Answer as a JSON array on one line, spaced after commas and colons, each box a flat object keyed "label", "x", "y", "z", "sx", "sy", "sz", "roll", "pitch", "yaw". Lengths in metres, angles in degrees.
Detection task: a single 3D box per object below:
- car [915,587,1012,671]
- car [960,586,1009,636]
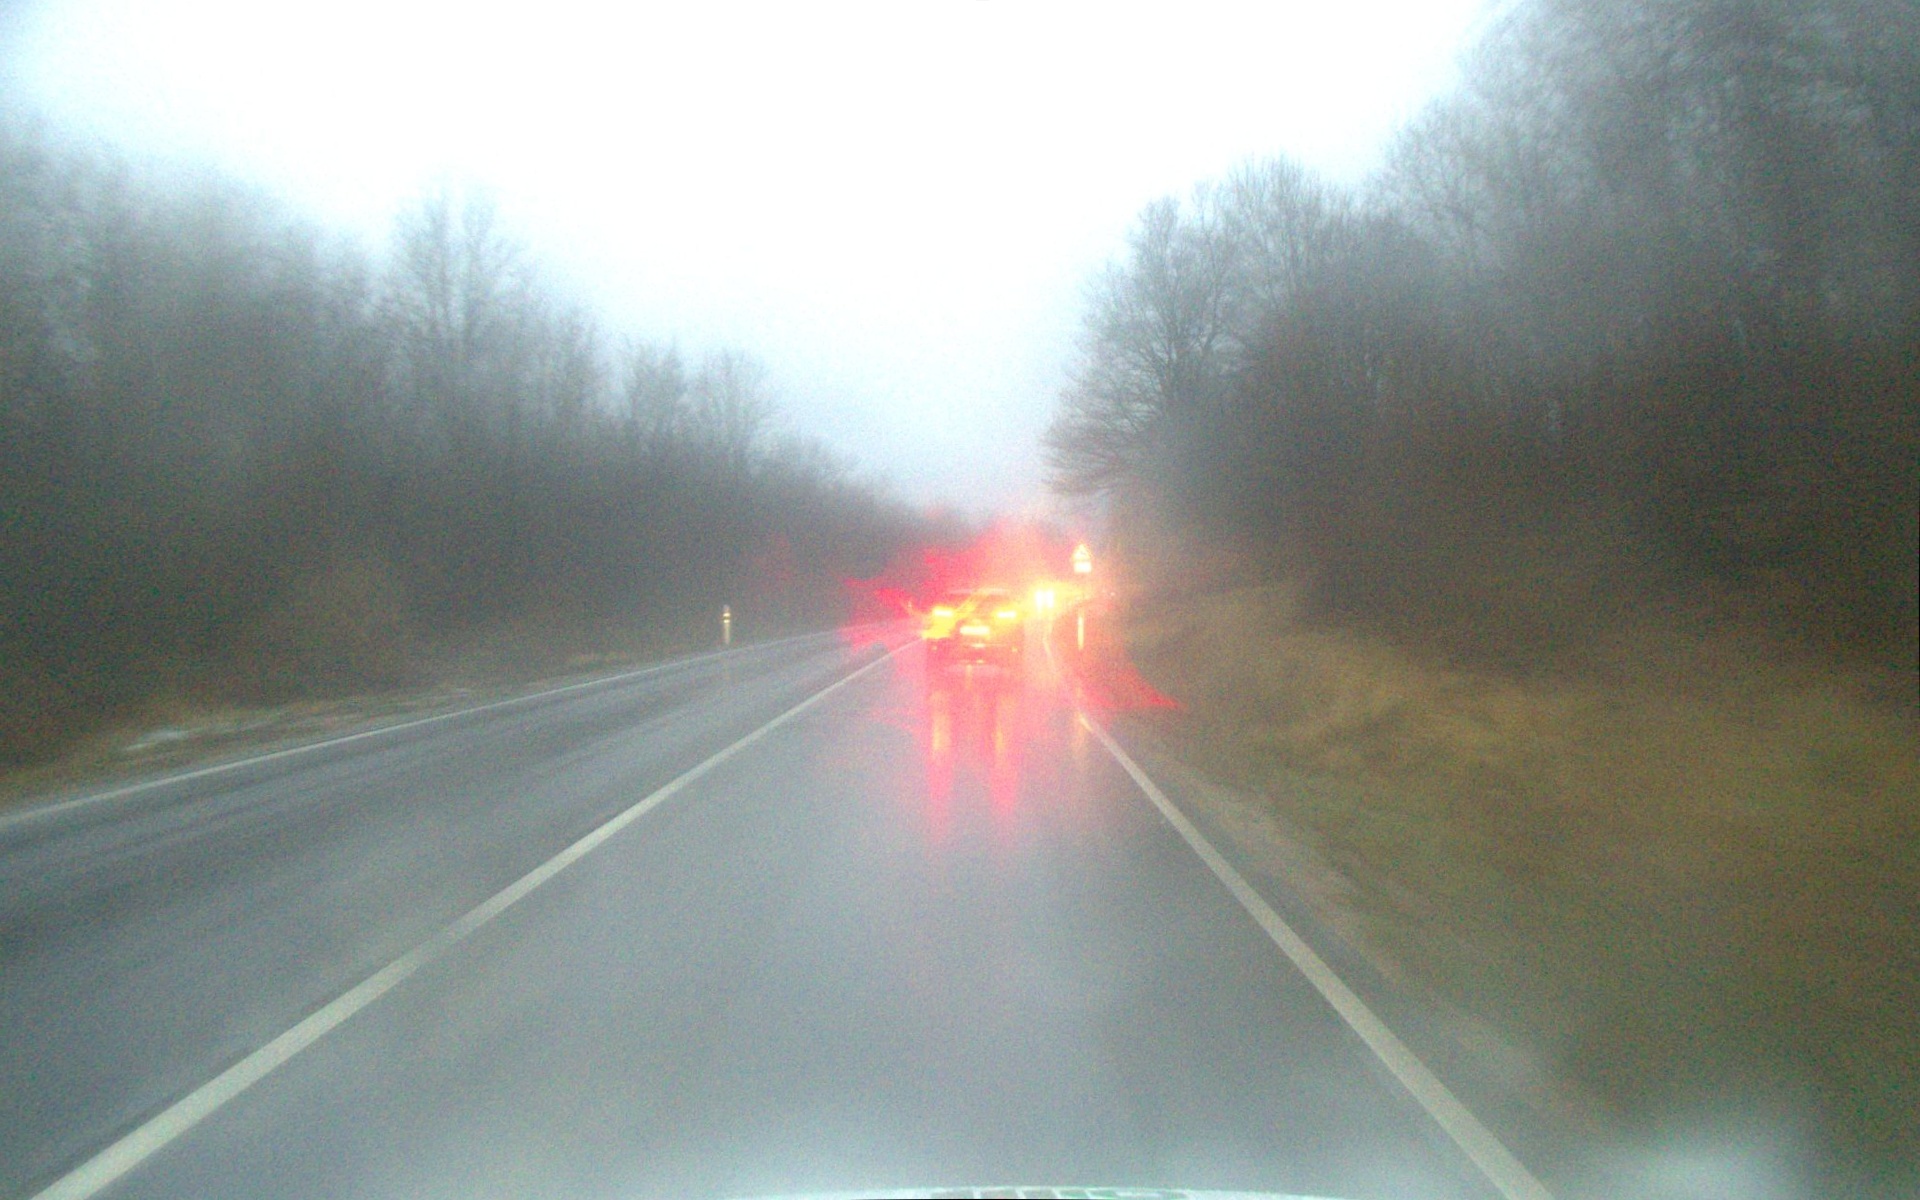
[{"label": "car", "x": 0.127, "y": 0.488, "z": 30.433, "sx": 1.644, "sy": 1.414, "sz": 4.099, "roll": -1, "pitch": 0, "yaw": 2}, {"label": "car", "x": 0.870, "y": 0.378, "z": 60.000, "sx": 1.644, "sy": 1.704, "sz": 4.097, "roll": -1, "pitch": 0, "yaw": -1}]
